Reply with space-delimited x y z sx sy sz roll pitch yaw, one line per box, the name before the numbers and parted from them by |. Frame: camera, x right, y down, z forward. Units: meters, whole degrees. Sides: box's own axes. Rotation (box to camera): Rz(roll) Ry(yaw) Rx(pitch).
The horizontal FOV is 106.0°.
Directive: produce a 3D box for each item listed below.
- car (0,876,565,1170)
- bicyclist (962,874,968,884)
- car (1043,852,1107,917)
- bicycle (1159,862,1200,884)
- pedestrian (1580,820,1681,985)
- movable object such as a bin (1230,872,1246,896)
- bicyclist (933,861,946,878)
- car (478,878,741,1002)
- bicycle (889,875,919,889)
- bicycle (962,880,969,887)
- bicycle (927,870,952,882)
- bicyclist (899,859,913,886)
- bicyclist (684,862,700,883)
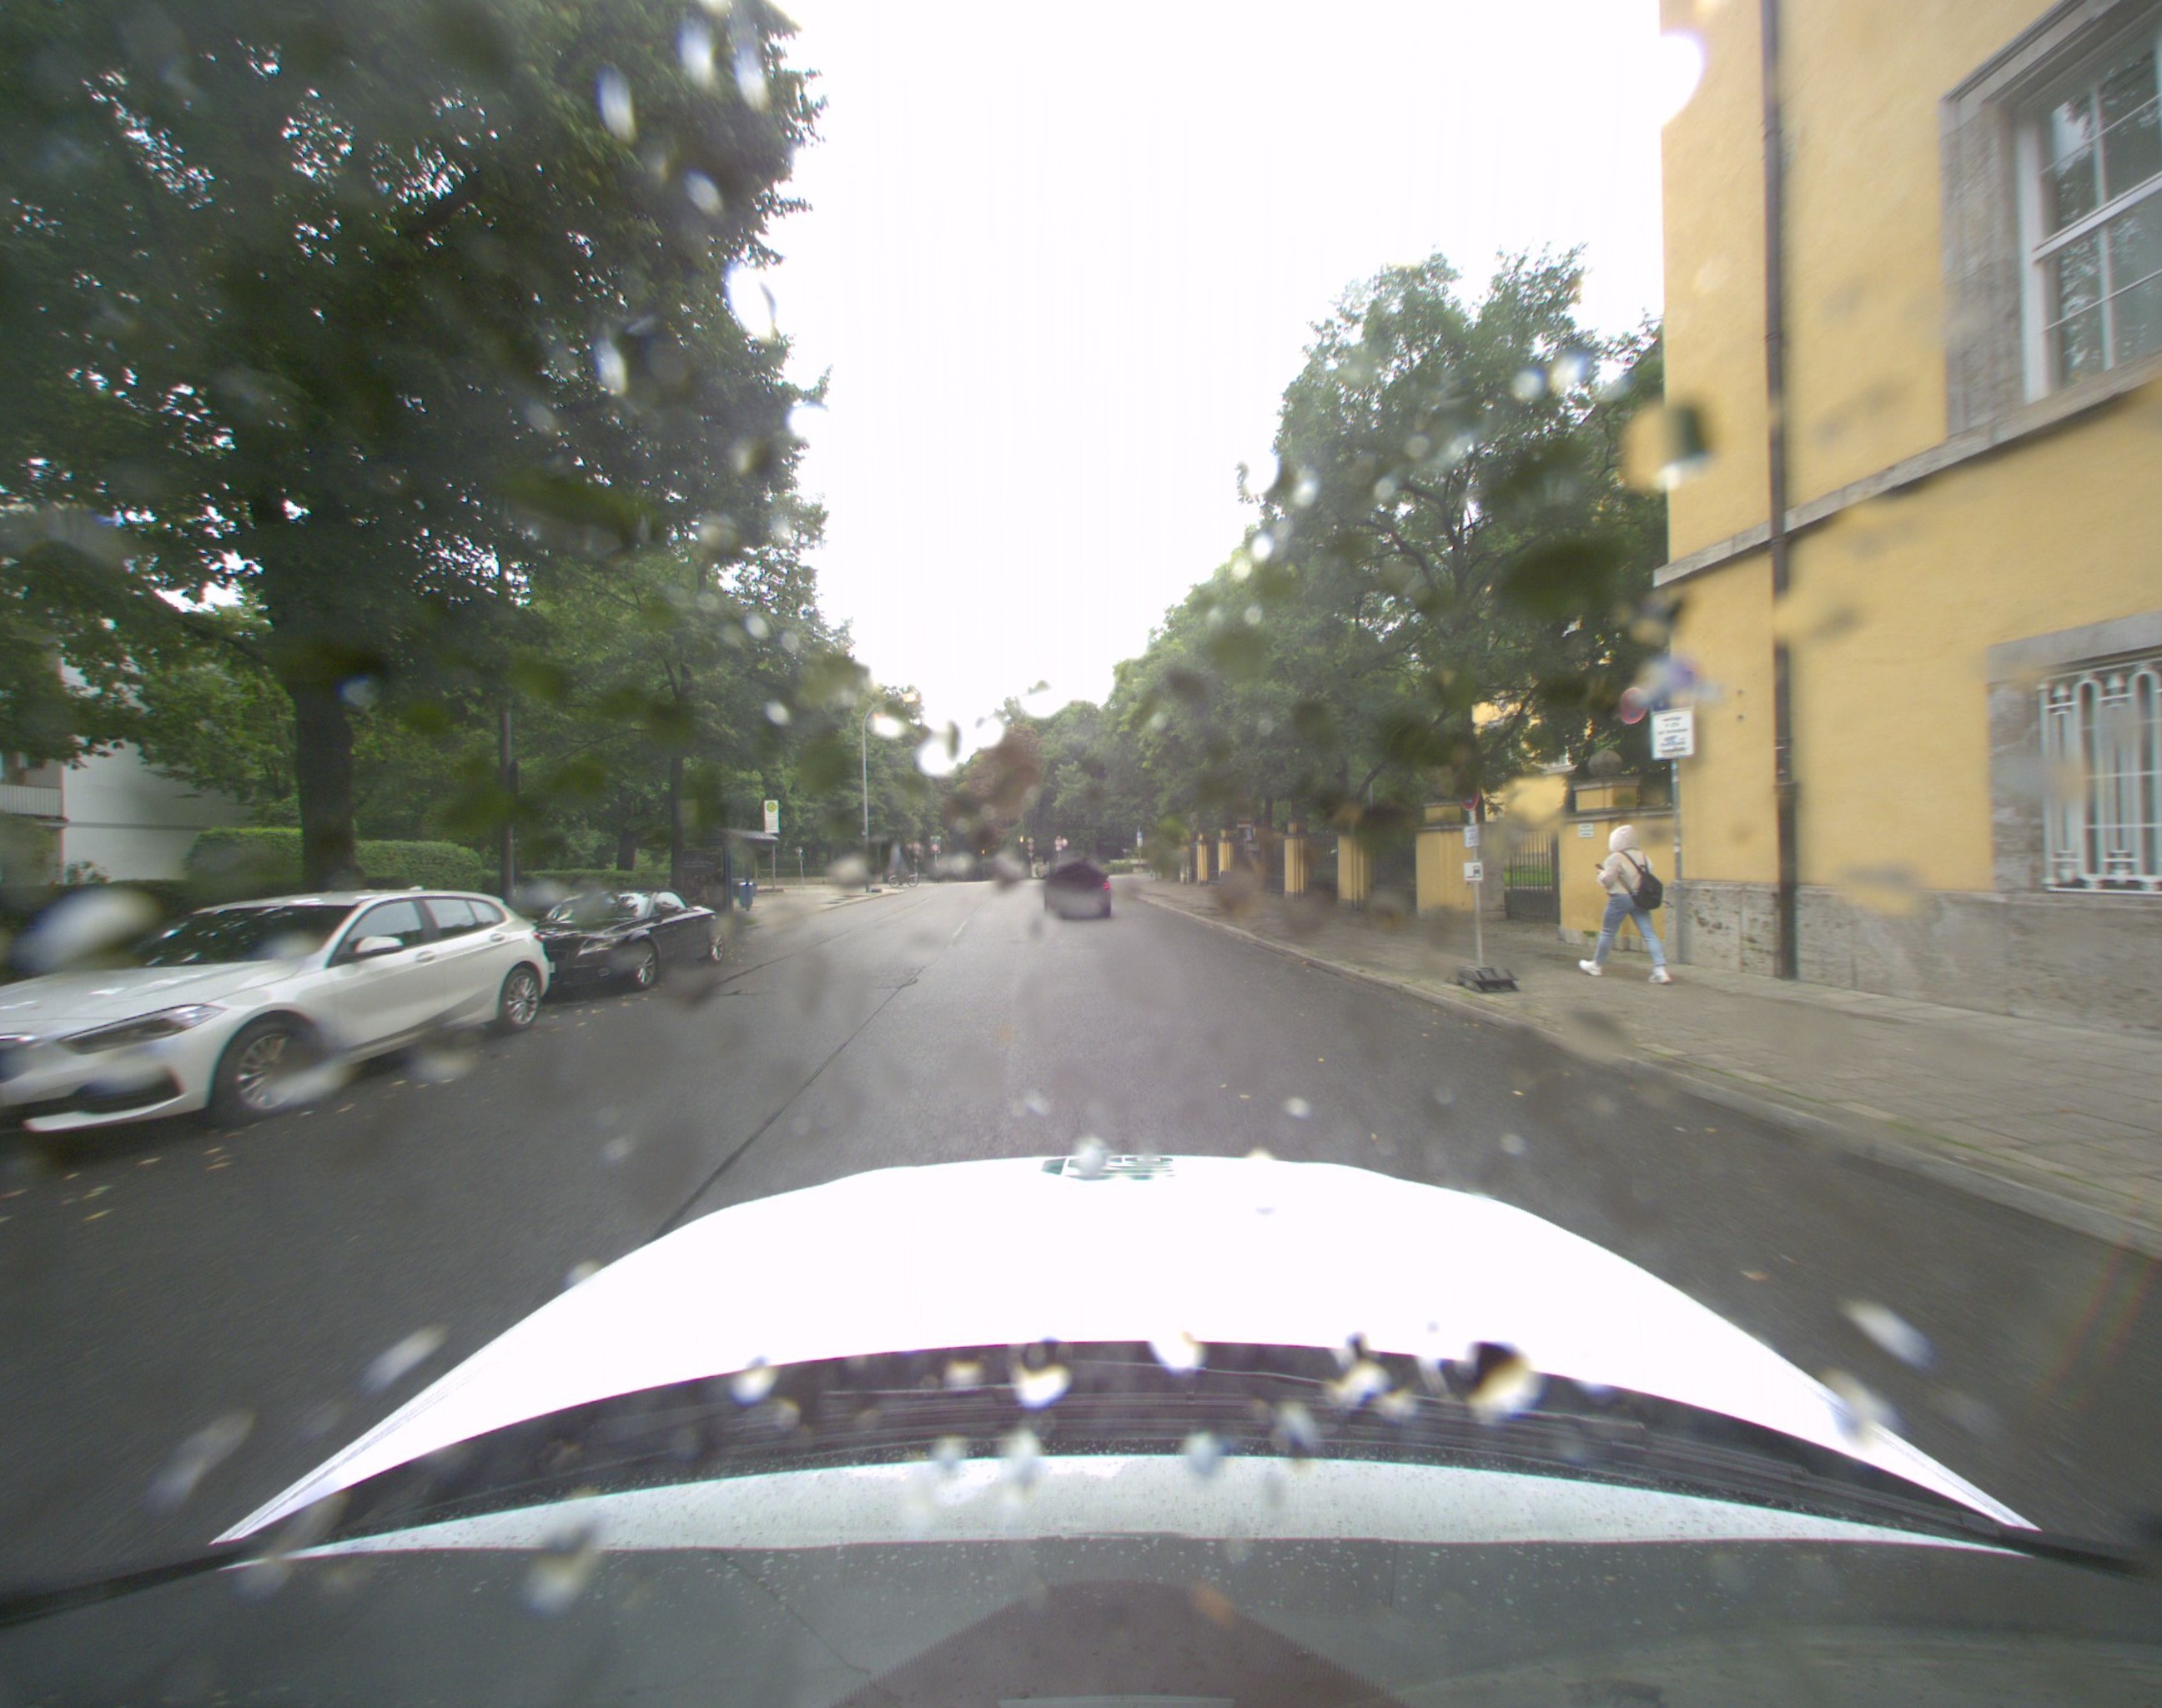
car | -6.102 0.985 6.487 1.575 1.497 4.191 -2 -1 -5
bicyclist | -14.380 3.131 101.190 0.681 1.187 0.479 -2 -1 -11
car | -0.213 0.777 22.437 1.573 1.584 4.041 -2 -1 -2
bicycle | 4.946 0.939 40.895 1.907 0.949 0.580 -4 -1 -12
pedestrian | 5.730 0.487 8.516 0.559 1.638 0.570 -4 0 -5
movable object such as a bin | 5.293 1.008 27.423 0.396 0.780 0.465 -2 0 -2
bicyclist | -10.686 1.174 61.587 0.674 1.282 0.603 -2 -1 26
car | -6.455 1.076 11.726 1.574 1.343 4.039 -2 -1 -3
bicycle | -10.768 1.690 49.654 1.764 0.797 0.568 -1 -1 -12
bicycle | -14.356 3.630 101.159 0.679 0.830 2.102 -2 -1 -10
bicycle | -10.678 1.652 61.576 0.673 0.830 2.122 -2 -1 26
bicyclist | -10.677 1.134 49.723 0.751 1.585 0.653 -2 -1 -11
bicyclist | -24.315 1.148 50.937 0.857 1.257 0.519 -1 -2 -31
